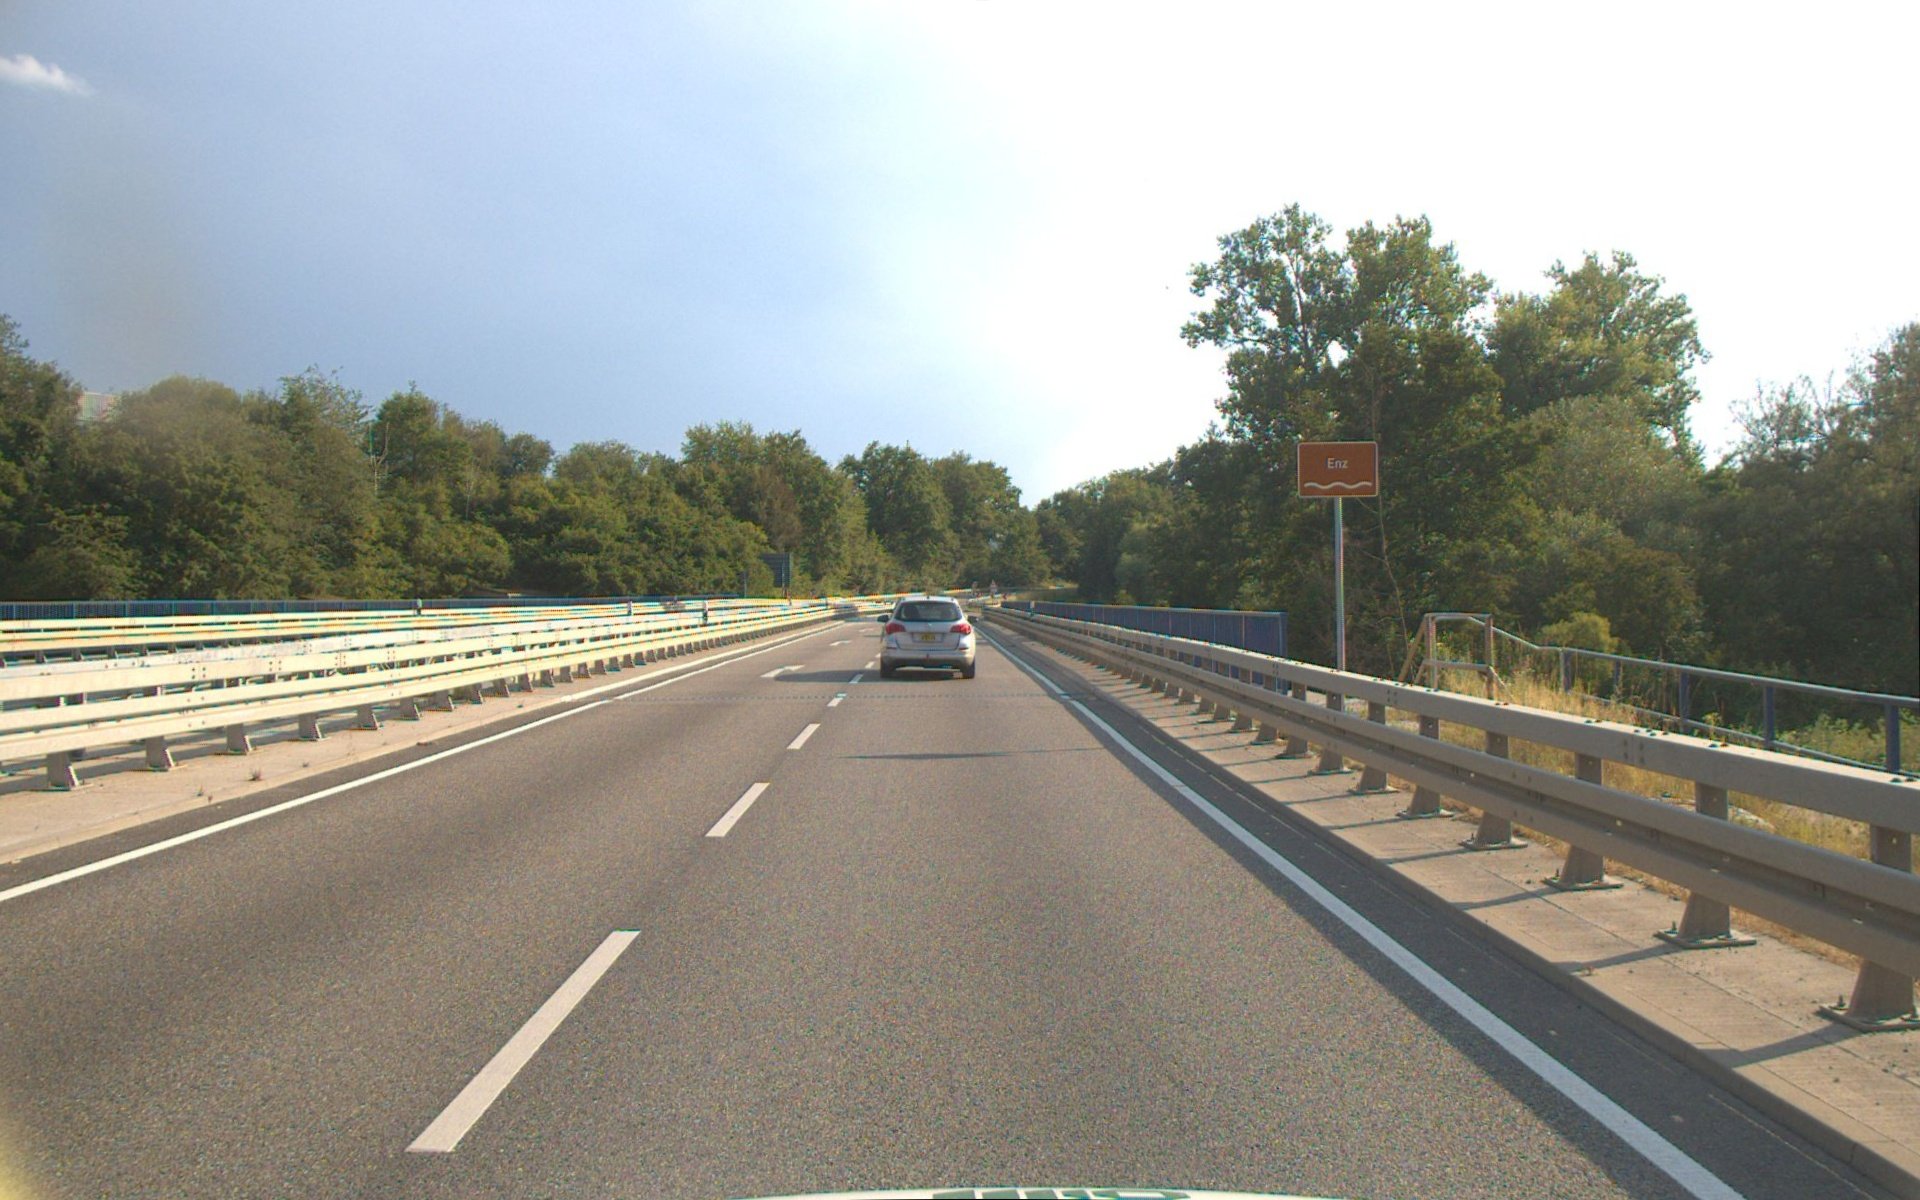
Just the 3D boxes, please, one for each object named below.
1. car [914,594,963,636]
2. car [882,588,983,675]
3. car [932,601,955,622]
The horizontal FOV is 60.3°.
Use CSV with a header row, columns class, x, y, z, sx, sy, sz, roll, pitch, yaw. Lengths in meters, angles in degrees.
class,x,y,z,sx,sy,sz,roll,pitch,yaw
car,-0.837,0.590,62.805,1.772,1.512,3.998,1,-1,-2
car,-0.535,0.588,31.332,1.772,1.512,3.998,1,-1,-2
car,-1.644,1.143,162.623,1.955,2.049,3.995,1,-1,-5
